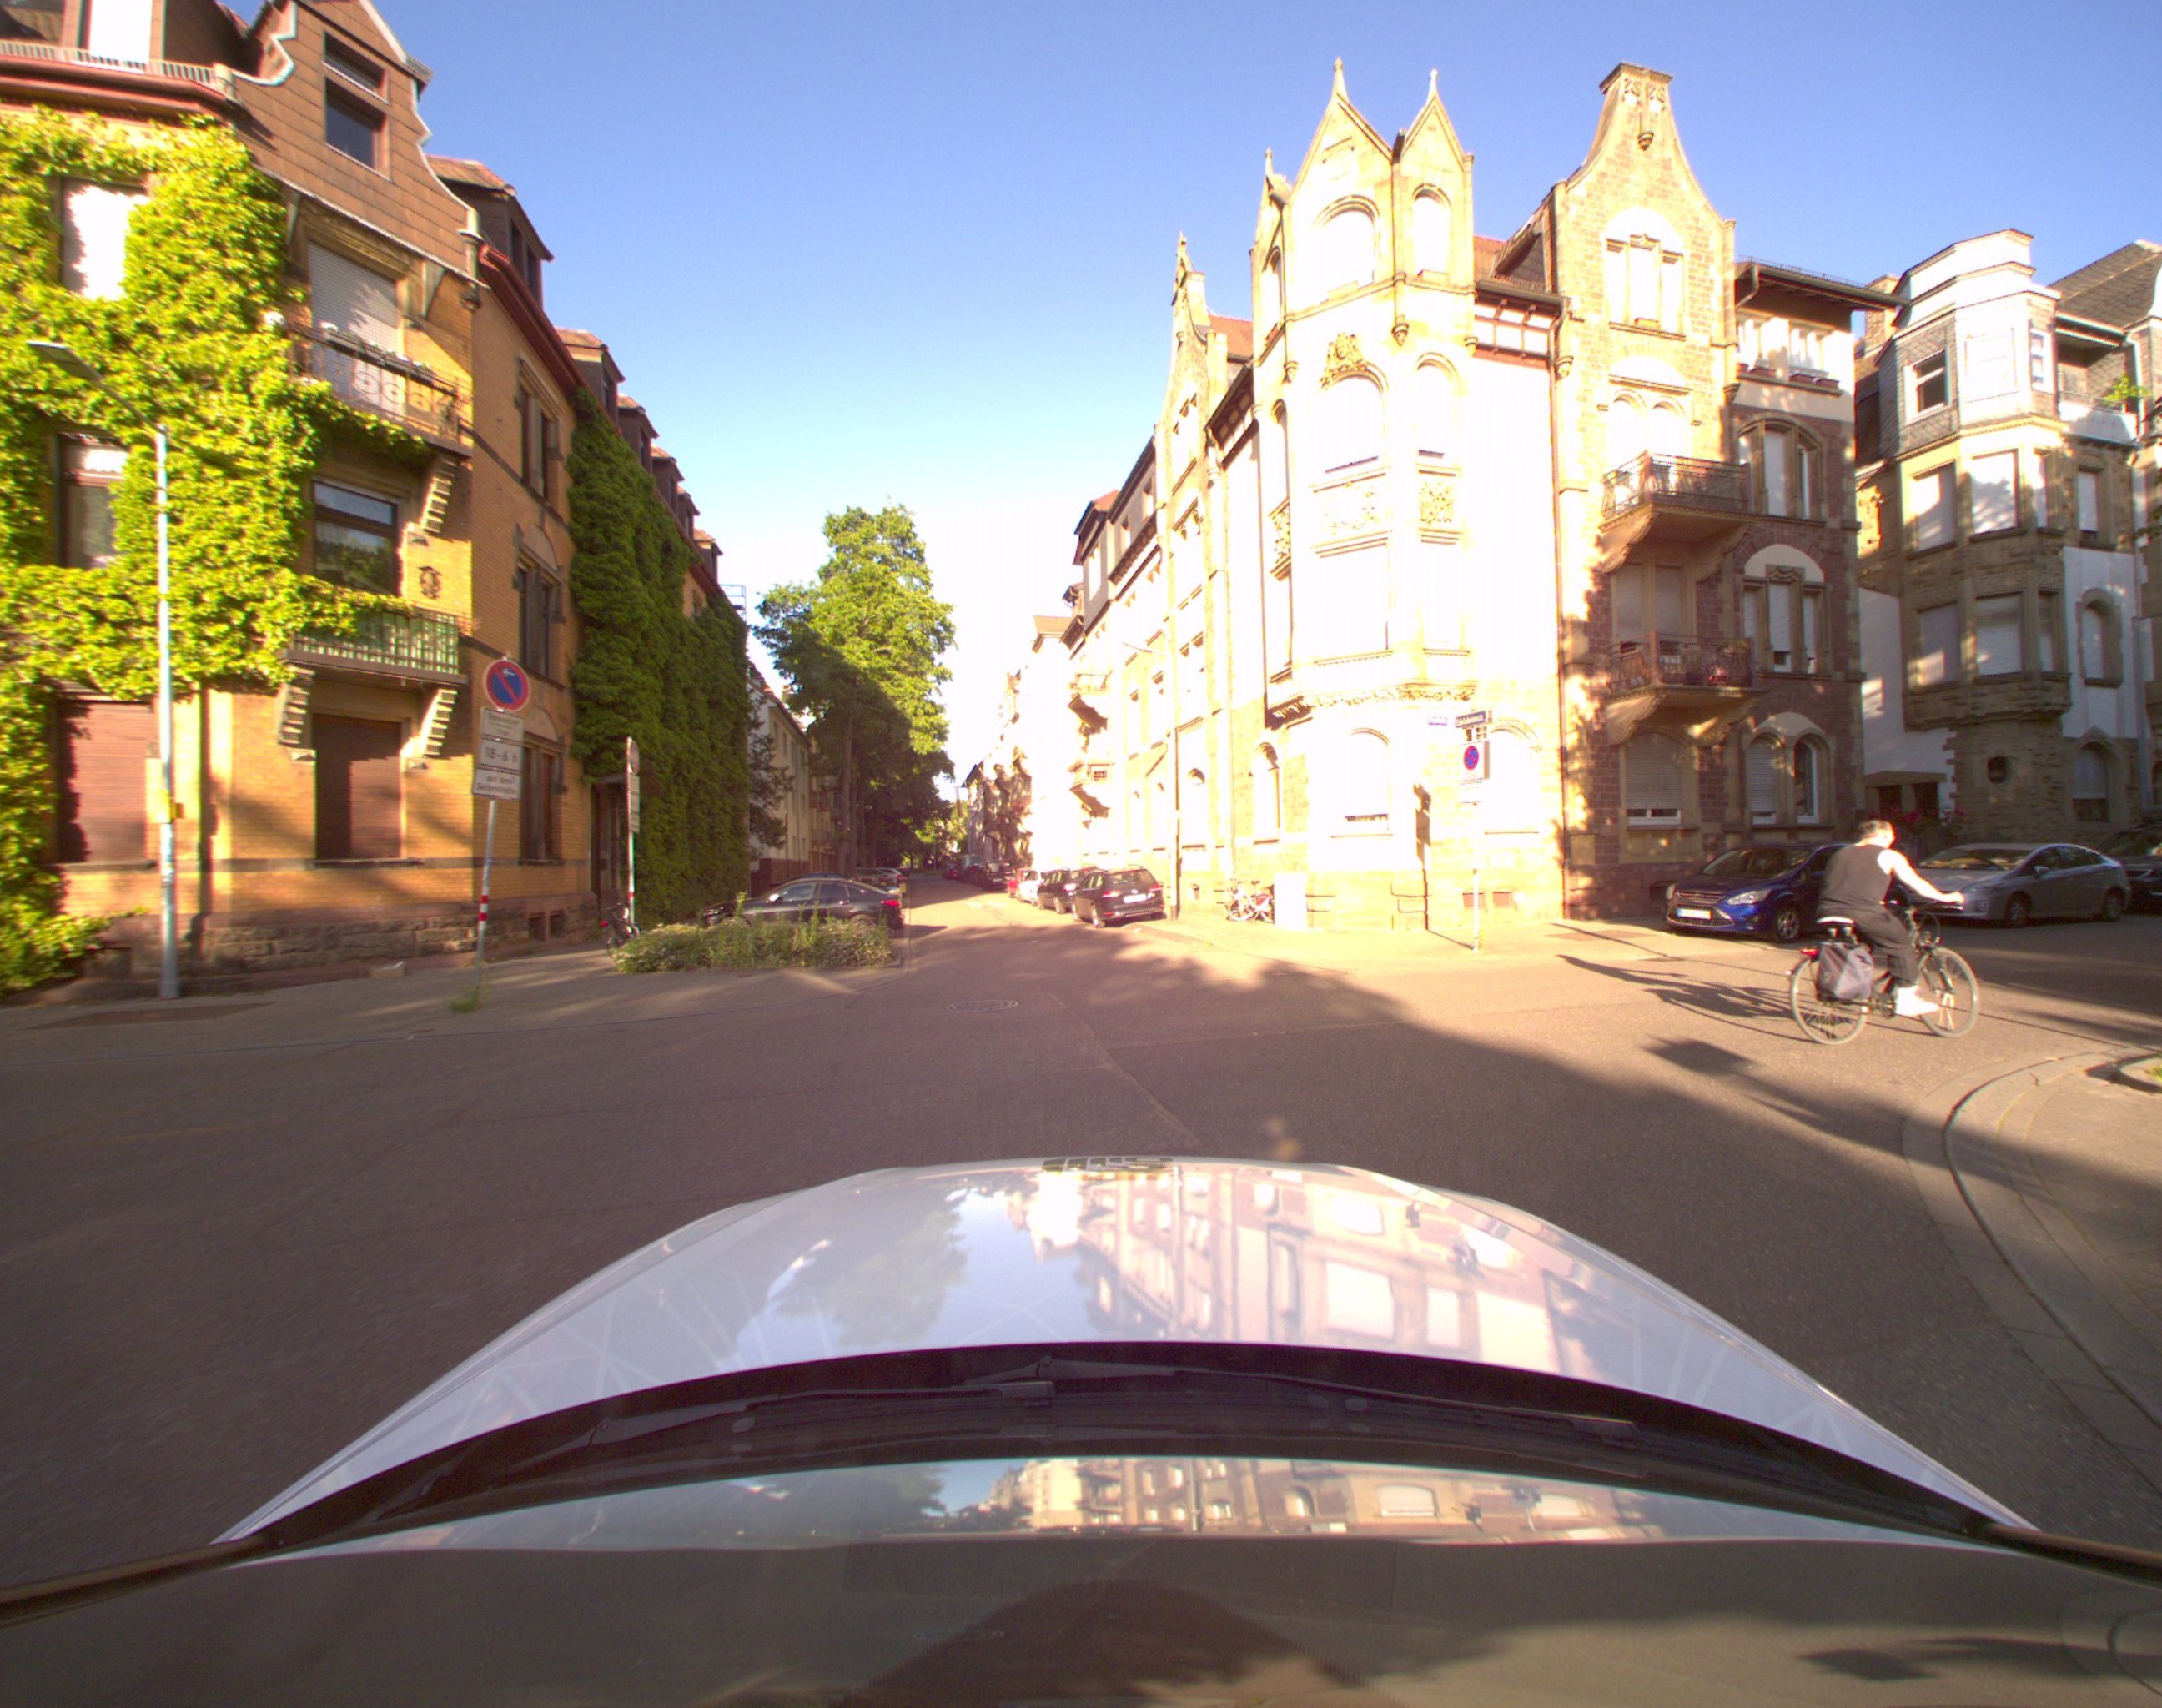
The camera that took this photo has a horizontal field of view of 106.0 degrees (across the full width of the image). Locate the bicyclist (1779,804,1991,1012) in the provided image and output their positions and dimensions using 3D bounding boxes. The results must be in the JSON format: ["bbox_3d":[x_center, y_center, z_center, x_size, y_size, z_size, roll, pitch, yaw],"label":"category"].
[{"bbox_3d":[6.262,0.401,6.387,0.967,1.527,0.707,0,-1,-4],"label":"bicyclist"}]

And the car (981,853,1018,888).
[{"bbox_3d":[-4.990,0.982,49.589,1.804,2.004,3.983,0,-1,-12],"label":"car"}]

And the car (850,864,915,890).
[{"bbox_3d":[-12.163,1.388,49.818,3.809,1.575,1.701,0,-1,-16],"label":"car"}]

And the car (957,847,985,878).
[{"bbox_3d":[-10.052,0.774,74.317,2.168,2.691,4.770,0,-1,-12],"label":"car"}]

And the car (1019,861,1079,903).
[{"bbox_3d":[-1.347,1.069,32.588,1.739,1.581,3.983,0,-1,-12],"label":"car"}]

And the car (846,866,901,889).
[{"bbox_3d":[-15.011,1.689,59.060,3.807,1.575,1.702,0,-1,-15],"label":"car"}]

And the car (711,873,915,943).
[{"bbox_3d":[-6.028,1.183,18.802,4.249,1.435,1.990,0,-1,-14],"label":"car"}]

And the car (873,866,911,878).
[{"bbox_3d":[-19.681,1.881,84.924,3.807,1.240,1.702,0,-1,-15],"label":"car"}]

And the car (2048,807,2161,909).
[{"bbox_3d":[22.849,0.028,16.914,4.493,1.974,1.964,-1,1,-17],"label":"car"}]

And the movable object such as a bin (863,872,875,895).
[{"bbox_3d":[-10.839,1.494,41.642,0.600,1.153,0.483,0,-1,-18],"label":"movable object such as a bin"}]

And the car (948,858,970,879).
[{"bbox_3d":[-13.677,1.639,90.912,2.168,2.237,4.770,0,-1,-12],"label":"car"}]

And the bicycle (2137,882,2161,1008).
[{"bbox_3d":[10.228,0.779,7.090,1.966,1.073,0.554,0,-1,-16],"label":"bicycle"}]

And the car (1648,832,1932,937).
[{"bbox_3d":[12.189,0.472,14.044,4.254,1.622,1.725,0,0,-17],"label":"car"}]

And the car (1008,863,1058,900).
[{"bbox_3d":[-2.252,1.210,37.204,1.739,1.581,3.983,0,-1,-12],"label":"car"}]

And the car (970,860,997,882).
[{"bbox_3d":[-7.754,1.327,64.365,1.804,1.679,3.983,0,-1,-12],"label":"car"}]

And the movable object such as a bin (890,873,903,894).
[{"bbox_3d":[-9.529,1.537,42.044,0.631,1.053,0.565,0,-1,-18],"label":"movable object such as a bin"}]

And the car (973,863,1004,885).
[{"bbox_3d":[-6.565,1.384,57.647,1.804,1.514,3.983,0,-1,-12],"label":"car"}]

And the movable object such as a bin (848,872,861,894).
[{"bbox_3d":[-11.525,1.475,41.385,0.635,1.126,0.483,0,-1,-18],"label":"movable object such as a bin"}]

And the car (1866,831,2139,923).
[{"bbox_3d":[17.316,0.369,15.327,4.451,1.499,1.725,-1,1,-17],"label":"car"}]

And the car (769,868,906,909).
[{"bbox_3d":[-9.083,1.257,30.721,4.842,1.435,1.702,0,-1,-14],"label":"car"}]

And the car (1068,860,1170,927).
[{"bbox_3d":[0.903,0.978,21.592,1.739,1.581,3.983,0,-1,-12],"label":"car"}]

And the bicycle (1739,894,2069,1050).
[{"bbox_3d":[6.274,0.863,6.263,1.959,1.073,0.697,0,-1,-5],"label":"bicycle"}]

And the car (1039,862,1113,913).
[{"bbox_3d":[-0.243,1.067,27.581,1.739,1.581,3.983,0,-1,-12],"label":"car"}]

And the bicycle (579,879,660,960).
[{"bbox_3d":[-7.956,1.089,14.111,0.562,1.268,1.600,-2,0,-5],"label":"bicycle"}]

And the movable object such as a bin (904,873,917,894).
[{"bbox_3d":[-8.846,1.530,42.227,0.631,1.053,0.565,0,-1,-18],"label":"movable object such as a bin"}]

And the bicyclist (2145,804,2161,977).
[{"bbox_3d":[10.057,0.318,7.041,0.970,1.527,0.717,0,-1,-15],"label":"bicyclist"}]

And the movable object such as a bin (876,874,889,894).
[{"bbox_3d":[-10.194,1.533,41.793,0.631,1.053,0.565,0,-1,-18],"label":"movable object such as a bin"}]

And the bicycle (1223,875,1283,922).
[{"bbox_3d":[3.860,0.977,18.420,0.516,0.998,1.563,0,-1,-24],"label":"bicycle"}]
